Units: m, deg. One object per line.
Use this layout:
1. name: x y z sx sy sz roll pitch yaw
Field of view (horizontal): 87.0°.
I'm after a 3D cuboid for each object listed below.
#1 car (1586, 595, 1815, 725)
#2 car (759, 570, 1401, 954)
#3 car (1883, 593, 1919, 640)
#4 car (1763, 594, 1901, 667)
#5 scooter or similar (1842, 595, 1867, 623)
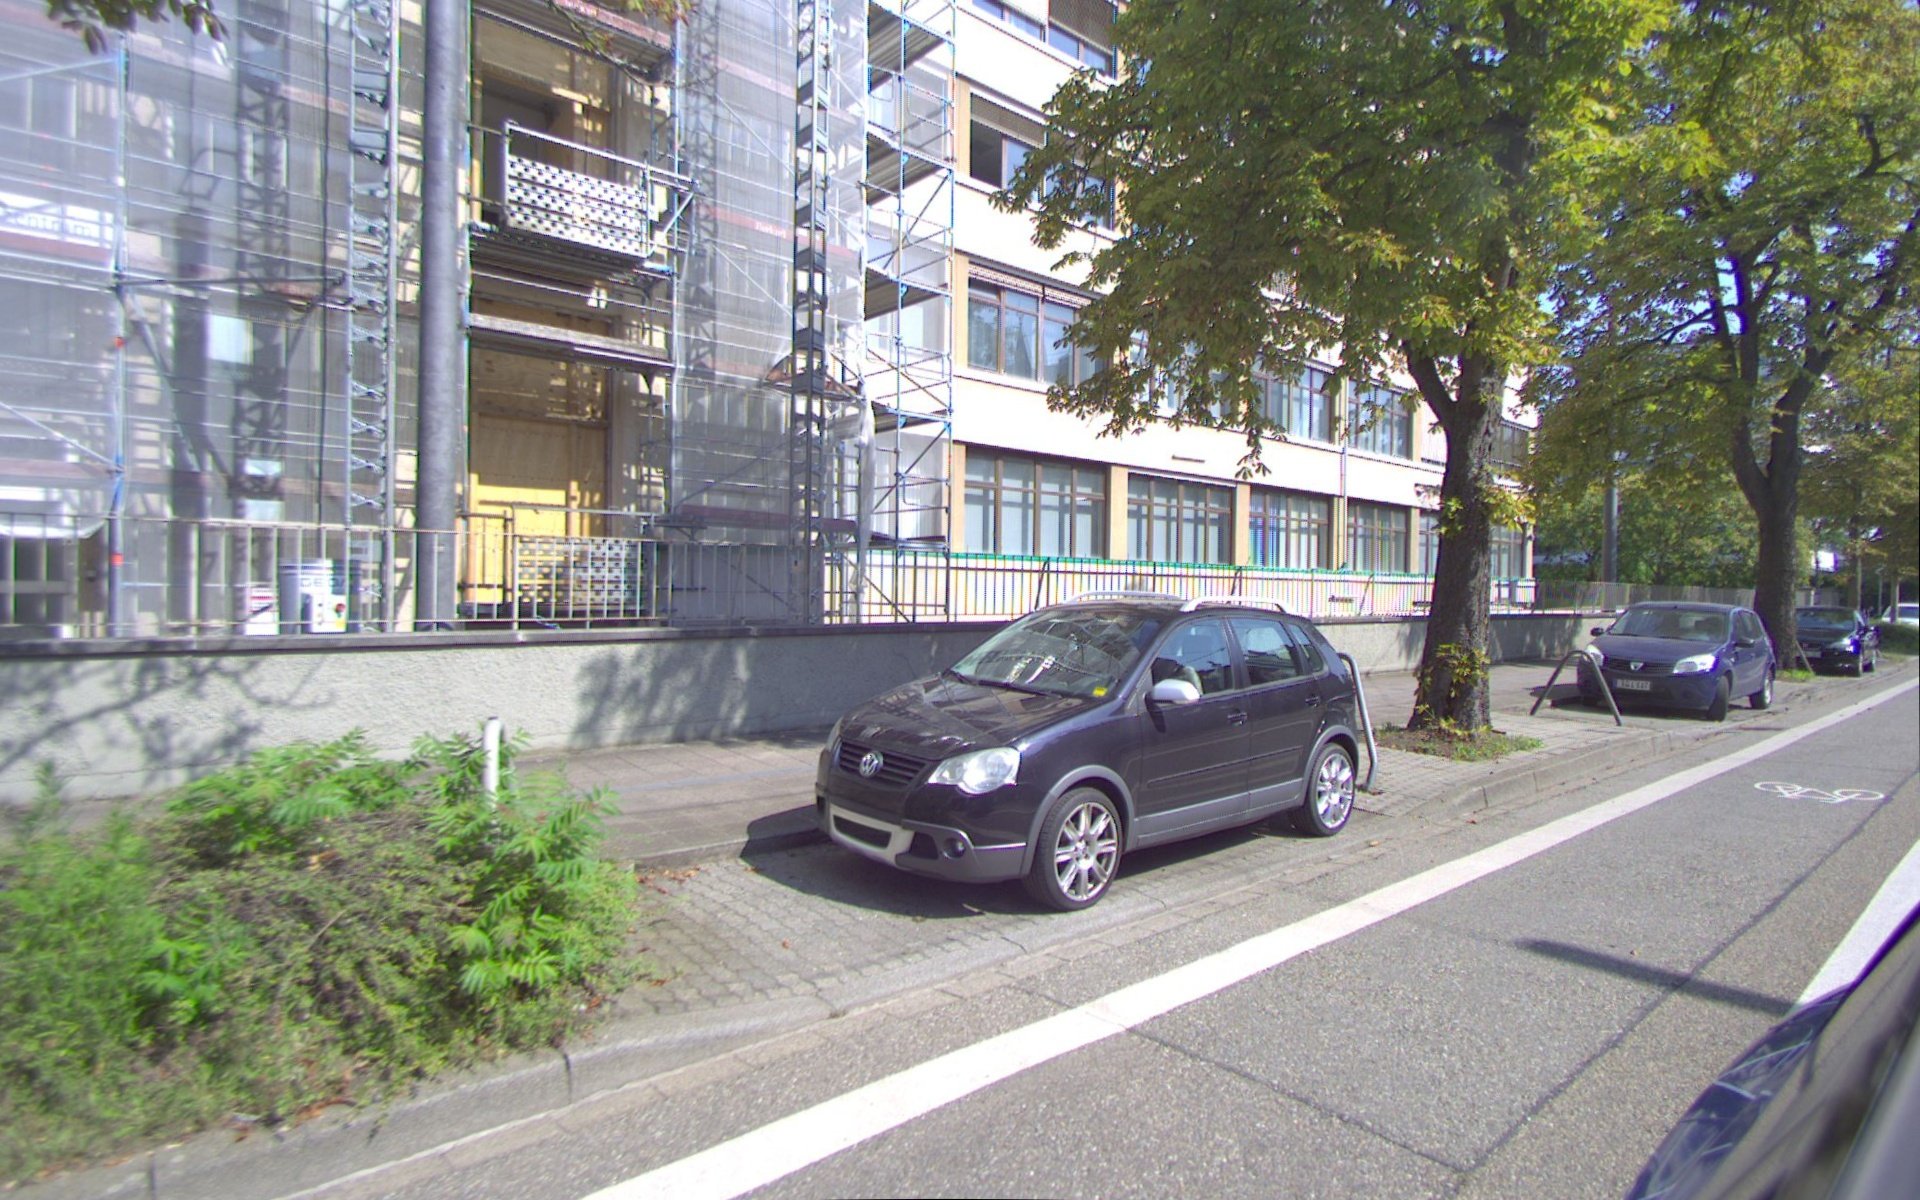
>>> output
1. car: 10.755 0.735 14.603 4.142 1.575 1.746 0 2 -41
2. car: 0.983 0.667 6.233 4.116 1.605 1.636 0 0 -42
3. car: 32.685 0.546 34.215 4.142 1.499 1.663 0 2 -41
4. car: 19.184 0.601 22.211 4.142 1.425 1.663 0 2 -41
5. scooter or similar: 41.426 0.398 46.856 1.785 1.275 0.557 0 0 -38
